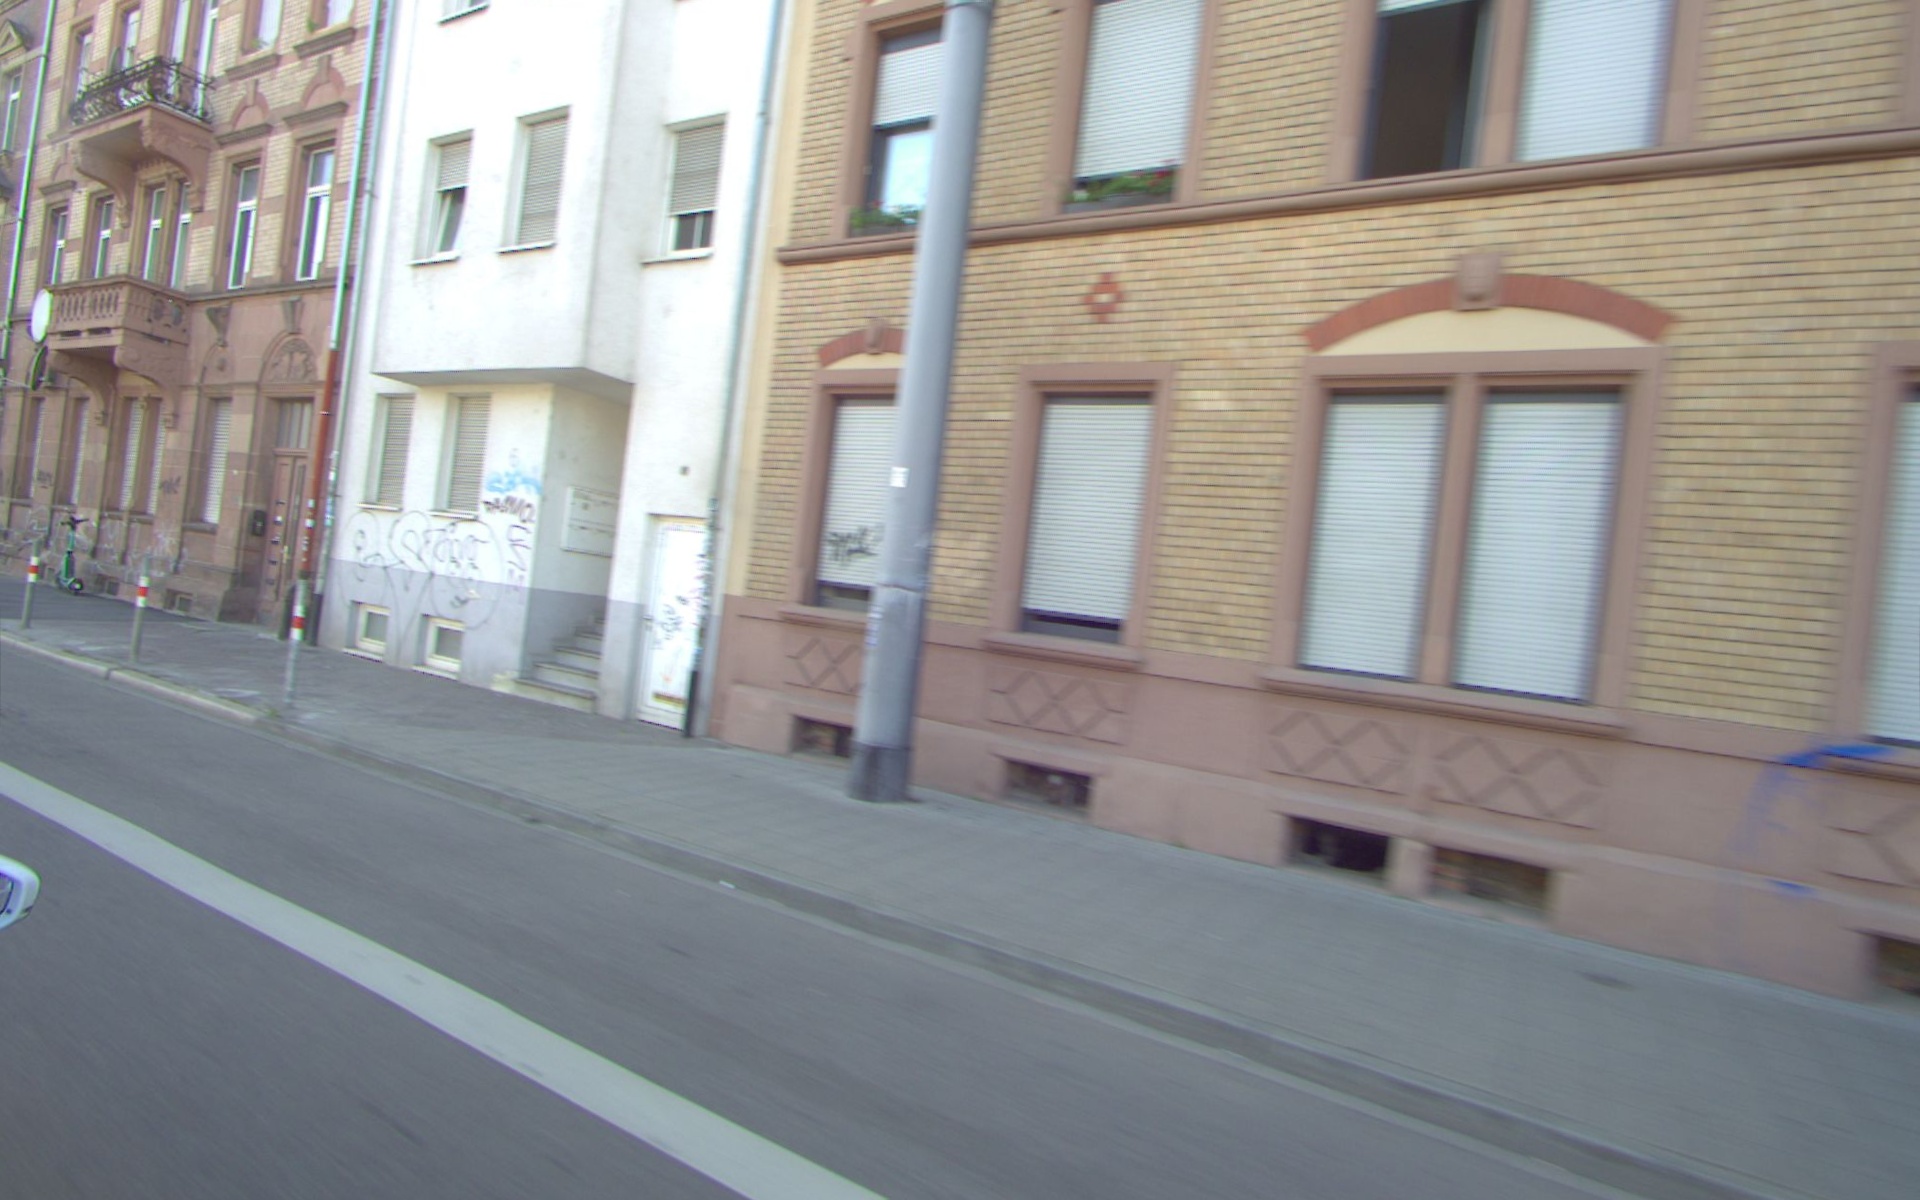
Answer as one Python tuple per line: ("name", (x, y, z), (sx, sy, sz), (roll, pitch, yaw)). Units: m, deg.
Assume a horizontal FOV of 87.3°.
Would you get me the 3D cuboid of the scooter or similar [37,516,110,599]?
("scooter or similar", (-14.460, -0.701, 16.400), (1.456, 1.226, 0.406), (6, 1, 32))
